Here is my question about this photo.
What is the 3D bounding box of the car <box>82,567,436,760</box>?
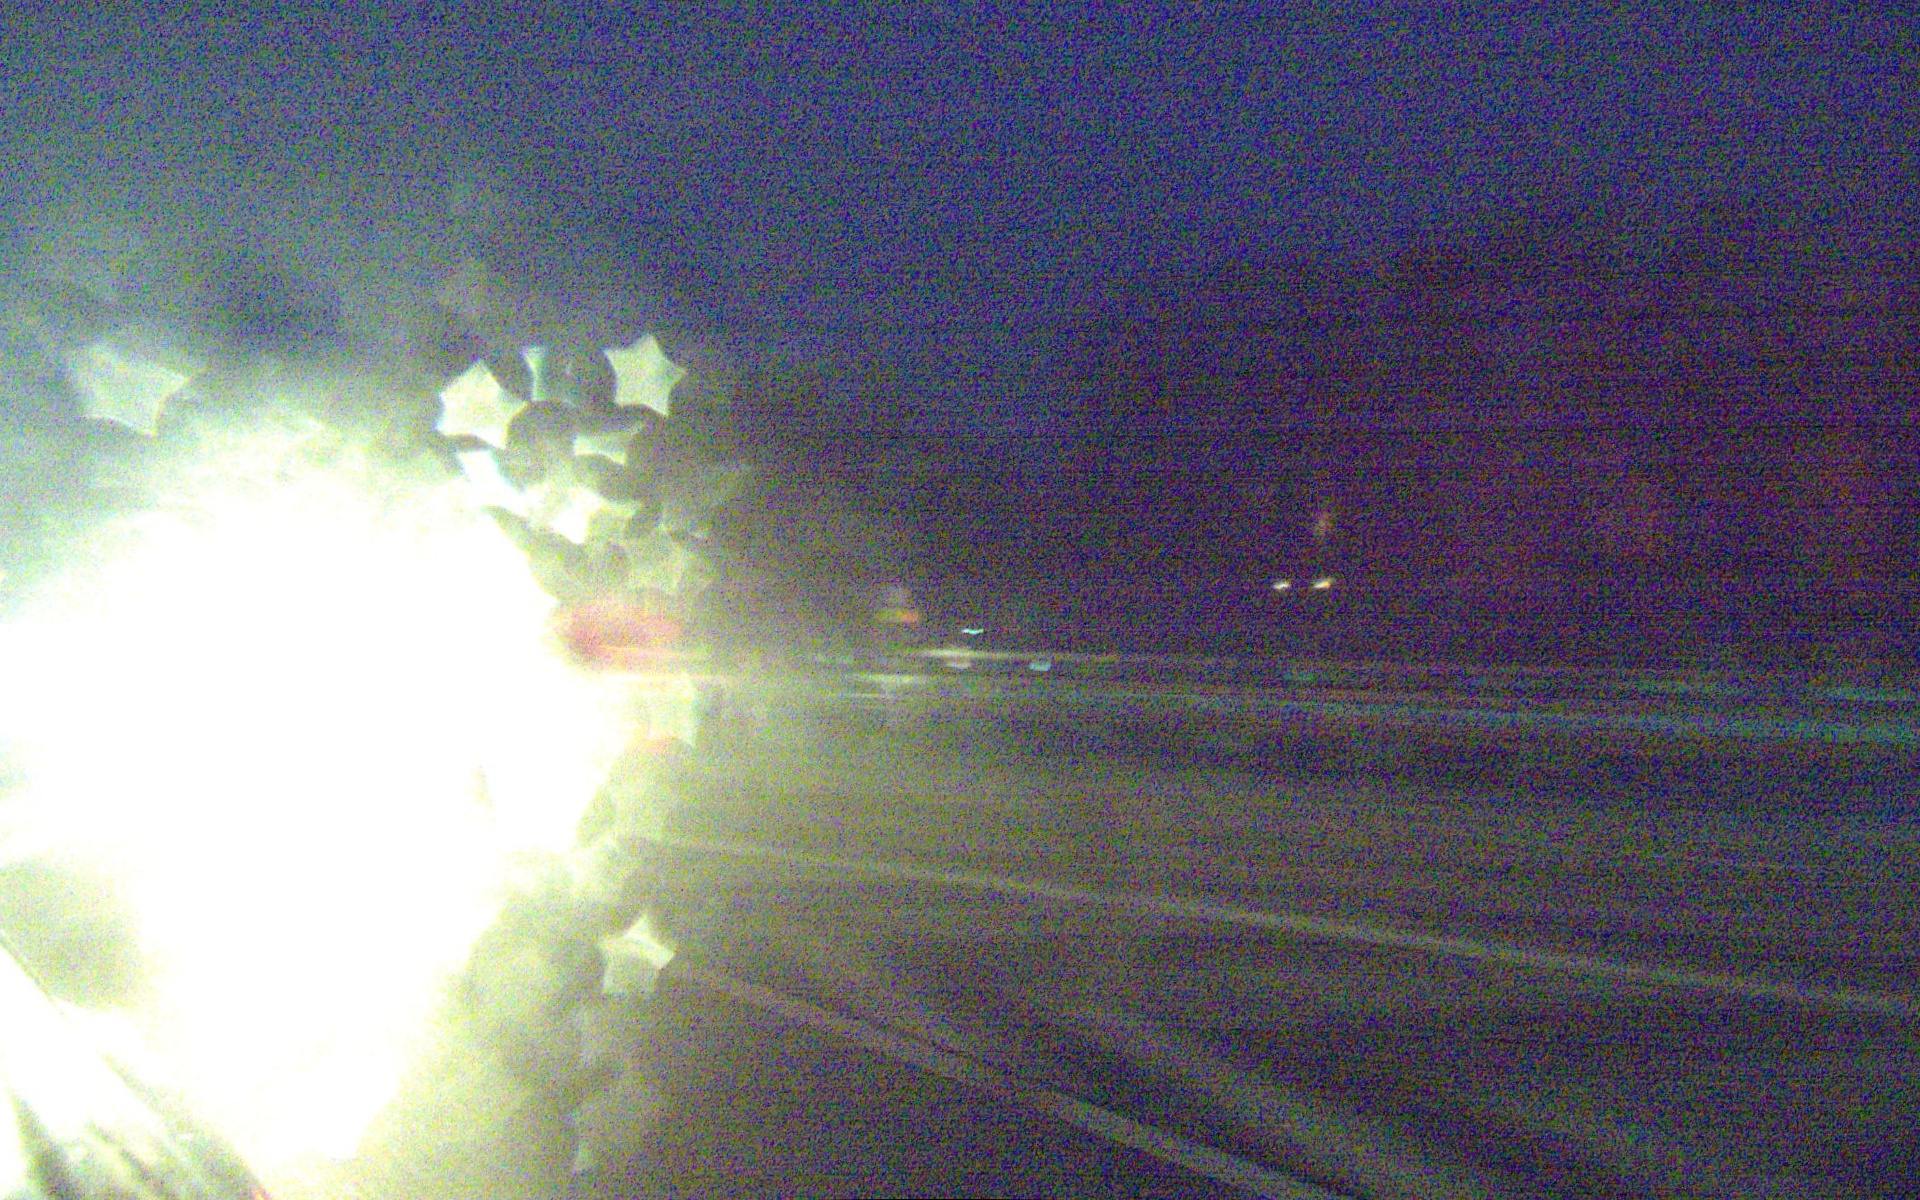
[{"bbox_3d":[-8.980,0.754,12.915,4.441,2.121,1.739,0,-4,27],"label":"car"}]

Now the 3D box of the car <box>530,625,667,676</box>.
[{"bbox_3d":[-11.656,1.603,32.693,3.862,1.485,1.779,1,-2,19],"label":"car"}]
